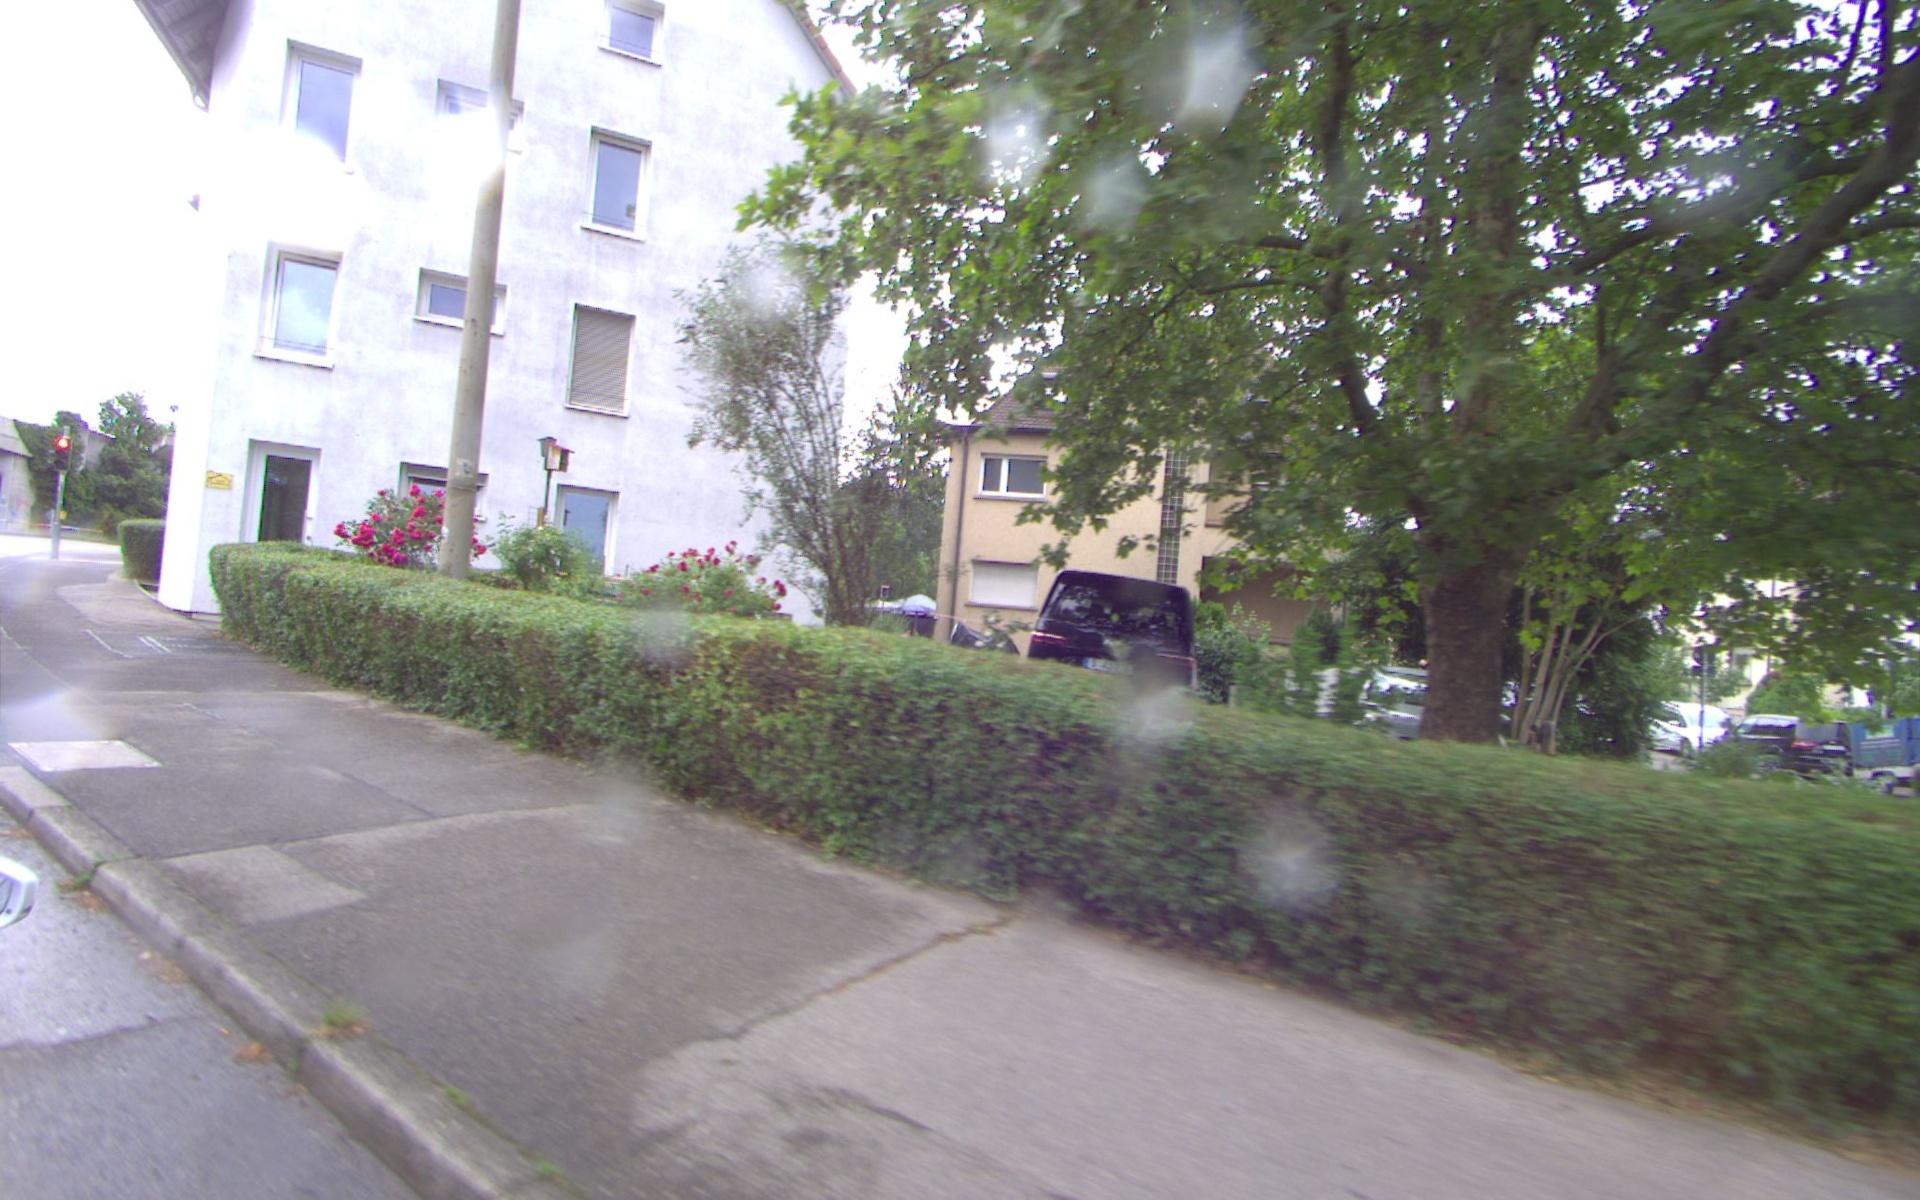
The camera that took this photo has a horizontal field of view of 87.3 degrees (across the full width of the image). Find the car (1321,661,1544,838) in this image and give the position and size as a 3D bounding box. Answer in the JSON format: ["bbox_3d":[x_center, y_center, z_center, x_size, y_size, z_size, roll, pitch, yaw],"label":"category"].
[{"bbox_3d":[5.607,1.657,12.450,1.788,1.599,4.003,6,-1,17],"label":"car"}]

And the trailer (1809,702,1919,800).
[{"bbox_3d":[23.138,3.739,24.785,1.640,2.038,3.494,6,-1,9],"label":"trailer"}]

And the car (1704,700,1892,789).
[{"bbox_3d":[23.747,4.023,28.789,1.962,1.861,4.584,6,-1,10],"label":"car"}]

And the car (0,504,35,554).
[{"bbox_3d":[-33.495,-2.614,33.096,1.962,1.572,4.005,6,-2,13],"label":"car"}]

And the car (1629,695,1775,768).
[{"bbox_3d":[24.917,4.359,34.016,1.962,1.861,4.584,6,-1,10],"label":"car"}]

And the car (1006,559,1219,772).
[{"bbox_3d":[1.983,0.757,12.467,1.962,1.955,4.419,6,-1,12],"label":"car"}]
